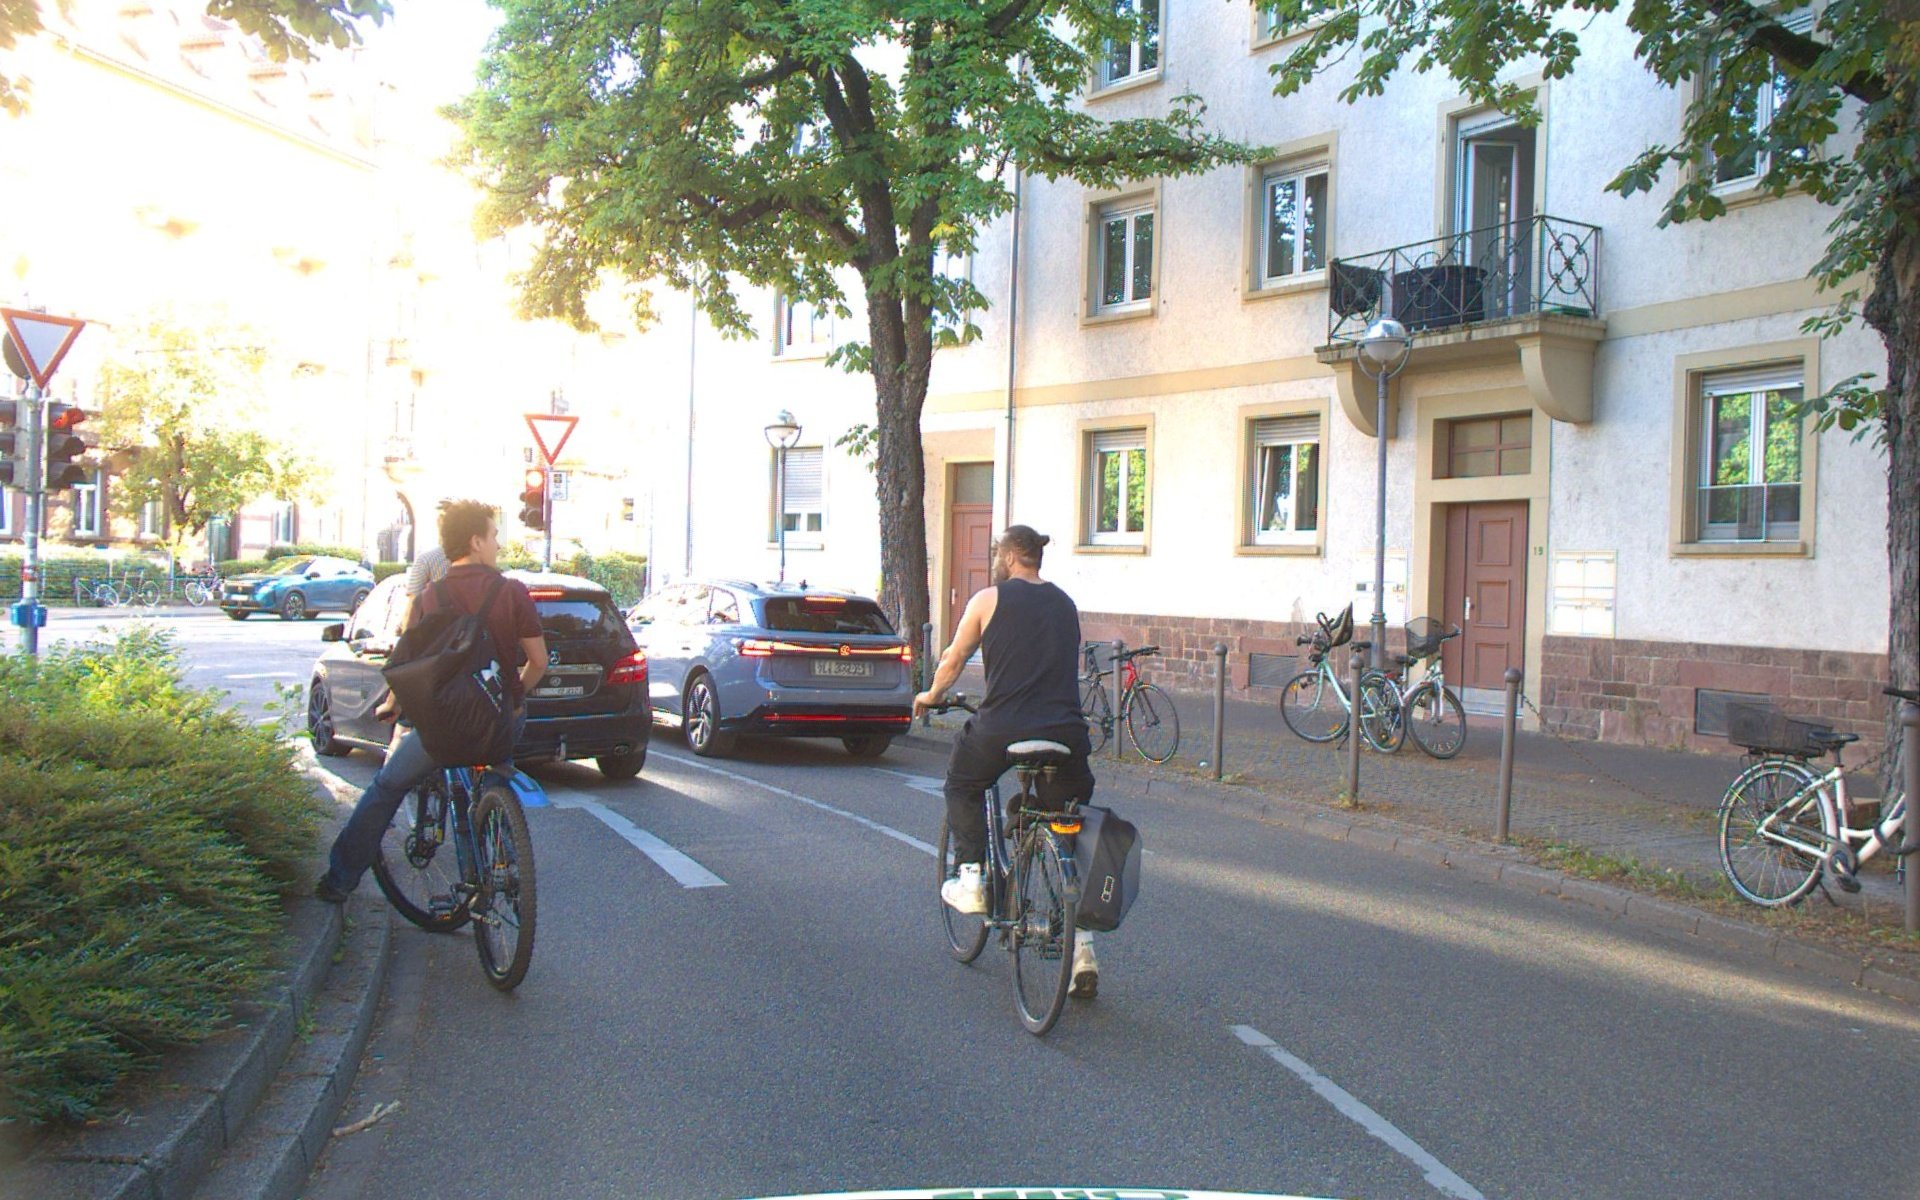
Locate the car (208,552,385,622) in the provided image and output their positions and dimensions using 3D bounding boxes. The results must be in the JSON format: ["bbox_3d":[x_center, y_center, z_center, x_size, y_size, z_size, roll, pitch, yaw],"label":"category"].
[{"bbox_3d":[-17.088,-0.321,42.855,1.901,1.678,4.413,2,0,17],"label":"car"}]

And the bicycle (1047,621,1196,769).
[{"bbox_3d":[1.378,0.786,14.418,0.519,1.126,1.728,-1,2,-24],"label":"bicycle"}]

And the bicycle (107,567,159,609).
[{"bbox_3d":[-22.353,-0.321,44.726,0.433,1.126,1.233,3,1,22],"label":"bicycle"}]

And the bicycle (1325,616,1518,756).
[{"bbox_3d":[4.123,0.743,14.944,0.657,1.126,1.956,2,0,-19],"label":"bicycle"}]

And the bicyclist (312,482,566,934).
[{"bbox_3d":[-2.044,0.379,6.438,0.699,1.601,0.947,2,0,-31],"label":"bicyclist"}]

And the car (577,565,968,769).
[{"bbox_3d":[-1.945,0.554,15.742,1.951,1.613,4.427,4,-1,-32],"label":"car"}]

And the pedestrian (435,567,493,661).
[{"bbox_3d":[-9.211,0.263,30.681,0.889,1.663,0.721,3,1,-21],"label":"pedestrian"}]

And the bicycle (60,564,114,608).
[{"bbox_3d":[-22.908,-0.362,43.414,0.433,1.126,1.233,3,1,22],"label":"bicycle"}]

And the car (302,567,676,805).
[{"bbox_3d":[-3.849,0.532,13.095,1.774,1.569,3.814,-1,1,-34],"label":"car"}]

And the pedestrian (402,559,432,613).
[{"bbox_3d":[-17.896,-0.464,54.519,0.649,1.745,0.635,2,0,29],"label":"pedestrian"}]

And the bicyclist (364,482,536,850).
[{"bbox_3d":[-2.894,0.350,9.342,0.783,1.946,0.938,2,0,-23],"label":"bicyclist"}]

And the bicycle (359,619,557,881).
[{"bbox_3d":[-2.848,0.749,9.213,0.799,1.205,2.211,2,0,-23],"label":"bicycle"}]

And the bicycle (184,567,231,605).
[{"bbox_3d":[-21.449,-0.389,47.172,0.433,1.056,1.233,3,1,21],"label":"bicycle"}]

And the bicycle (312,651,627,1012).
[{"bbox_3d":[-2.032,0.823,6.651,0.710,1.126,1.945,2,0,-32],"label":"bicycle"}]

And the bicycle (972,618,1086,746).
[{"bbox_3d":[0.645,0.762,15.990,0.474,1.082,1.625,-1,2,-22],"label":"bicycle"}]

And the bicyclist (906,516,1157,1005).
[{"bbox_3d":[0.242,0.547,6.271,0.675,1.685,0.985,0,1,-15],"label":"bicyclist"}]

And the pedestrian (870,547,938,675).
[{"bbox_3d":[-0.789,0.132,23.283,0.635,1.757,0.880,-1,2,-27],"label":"pedestrian"}]

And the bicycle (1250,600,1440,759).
[{"bbox_3d":[3.426,0.667,14.917,0.707,1.299,1.955,0,1,-21],"label":"bicycle"}]

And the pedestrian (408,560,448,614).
[{"bbox_3d":[-17.275,-0.422,53.705,0.698,1.693,0.895,5,2,33],"label":"pedestrian"}]

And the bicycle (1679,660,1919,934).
[{"bbox_3d":[4.266,0.887,7.661,0.505,1.114,1.962,0,1,-20],"label":"bicycle"}]
